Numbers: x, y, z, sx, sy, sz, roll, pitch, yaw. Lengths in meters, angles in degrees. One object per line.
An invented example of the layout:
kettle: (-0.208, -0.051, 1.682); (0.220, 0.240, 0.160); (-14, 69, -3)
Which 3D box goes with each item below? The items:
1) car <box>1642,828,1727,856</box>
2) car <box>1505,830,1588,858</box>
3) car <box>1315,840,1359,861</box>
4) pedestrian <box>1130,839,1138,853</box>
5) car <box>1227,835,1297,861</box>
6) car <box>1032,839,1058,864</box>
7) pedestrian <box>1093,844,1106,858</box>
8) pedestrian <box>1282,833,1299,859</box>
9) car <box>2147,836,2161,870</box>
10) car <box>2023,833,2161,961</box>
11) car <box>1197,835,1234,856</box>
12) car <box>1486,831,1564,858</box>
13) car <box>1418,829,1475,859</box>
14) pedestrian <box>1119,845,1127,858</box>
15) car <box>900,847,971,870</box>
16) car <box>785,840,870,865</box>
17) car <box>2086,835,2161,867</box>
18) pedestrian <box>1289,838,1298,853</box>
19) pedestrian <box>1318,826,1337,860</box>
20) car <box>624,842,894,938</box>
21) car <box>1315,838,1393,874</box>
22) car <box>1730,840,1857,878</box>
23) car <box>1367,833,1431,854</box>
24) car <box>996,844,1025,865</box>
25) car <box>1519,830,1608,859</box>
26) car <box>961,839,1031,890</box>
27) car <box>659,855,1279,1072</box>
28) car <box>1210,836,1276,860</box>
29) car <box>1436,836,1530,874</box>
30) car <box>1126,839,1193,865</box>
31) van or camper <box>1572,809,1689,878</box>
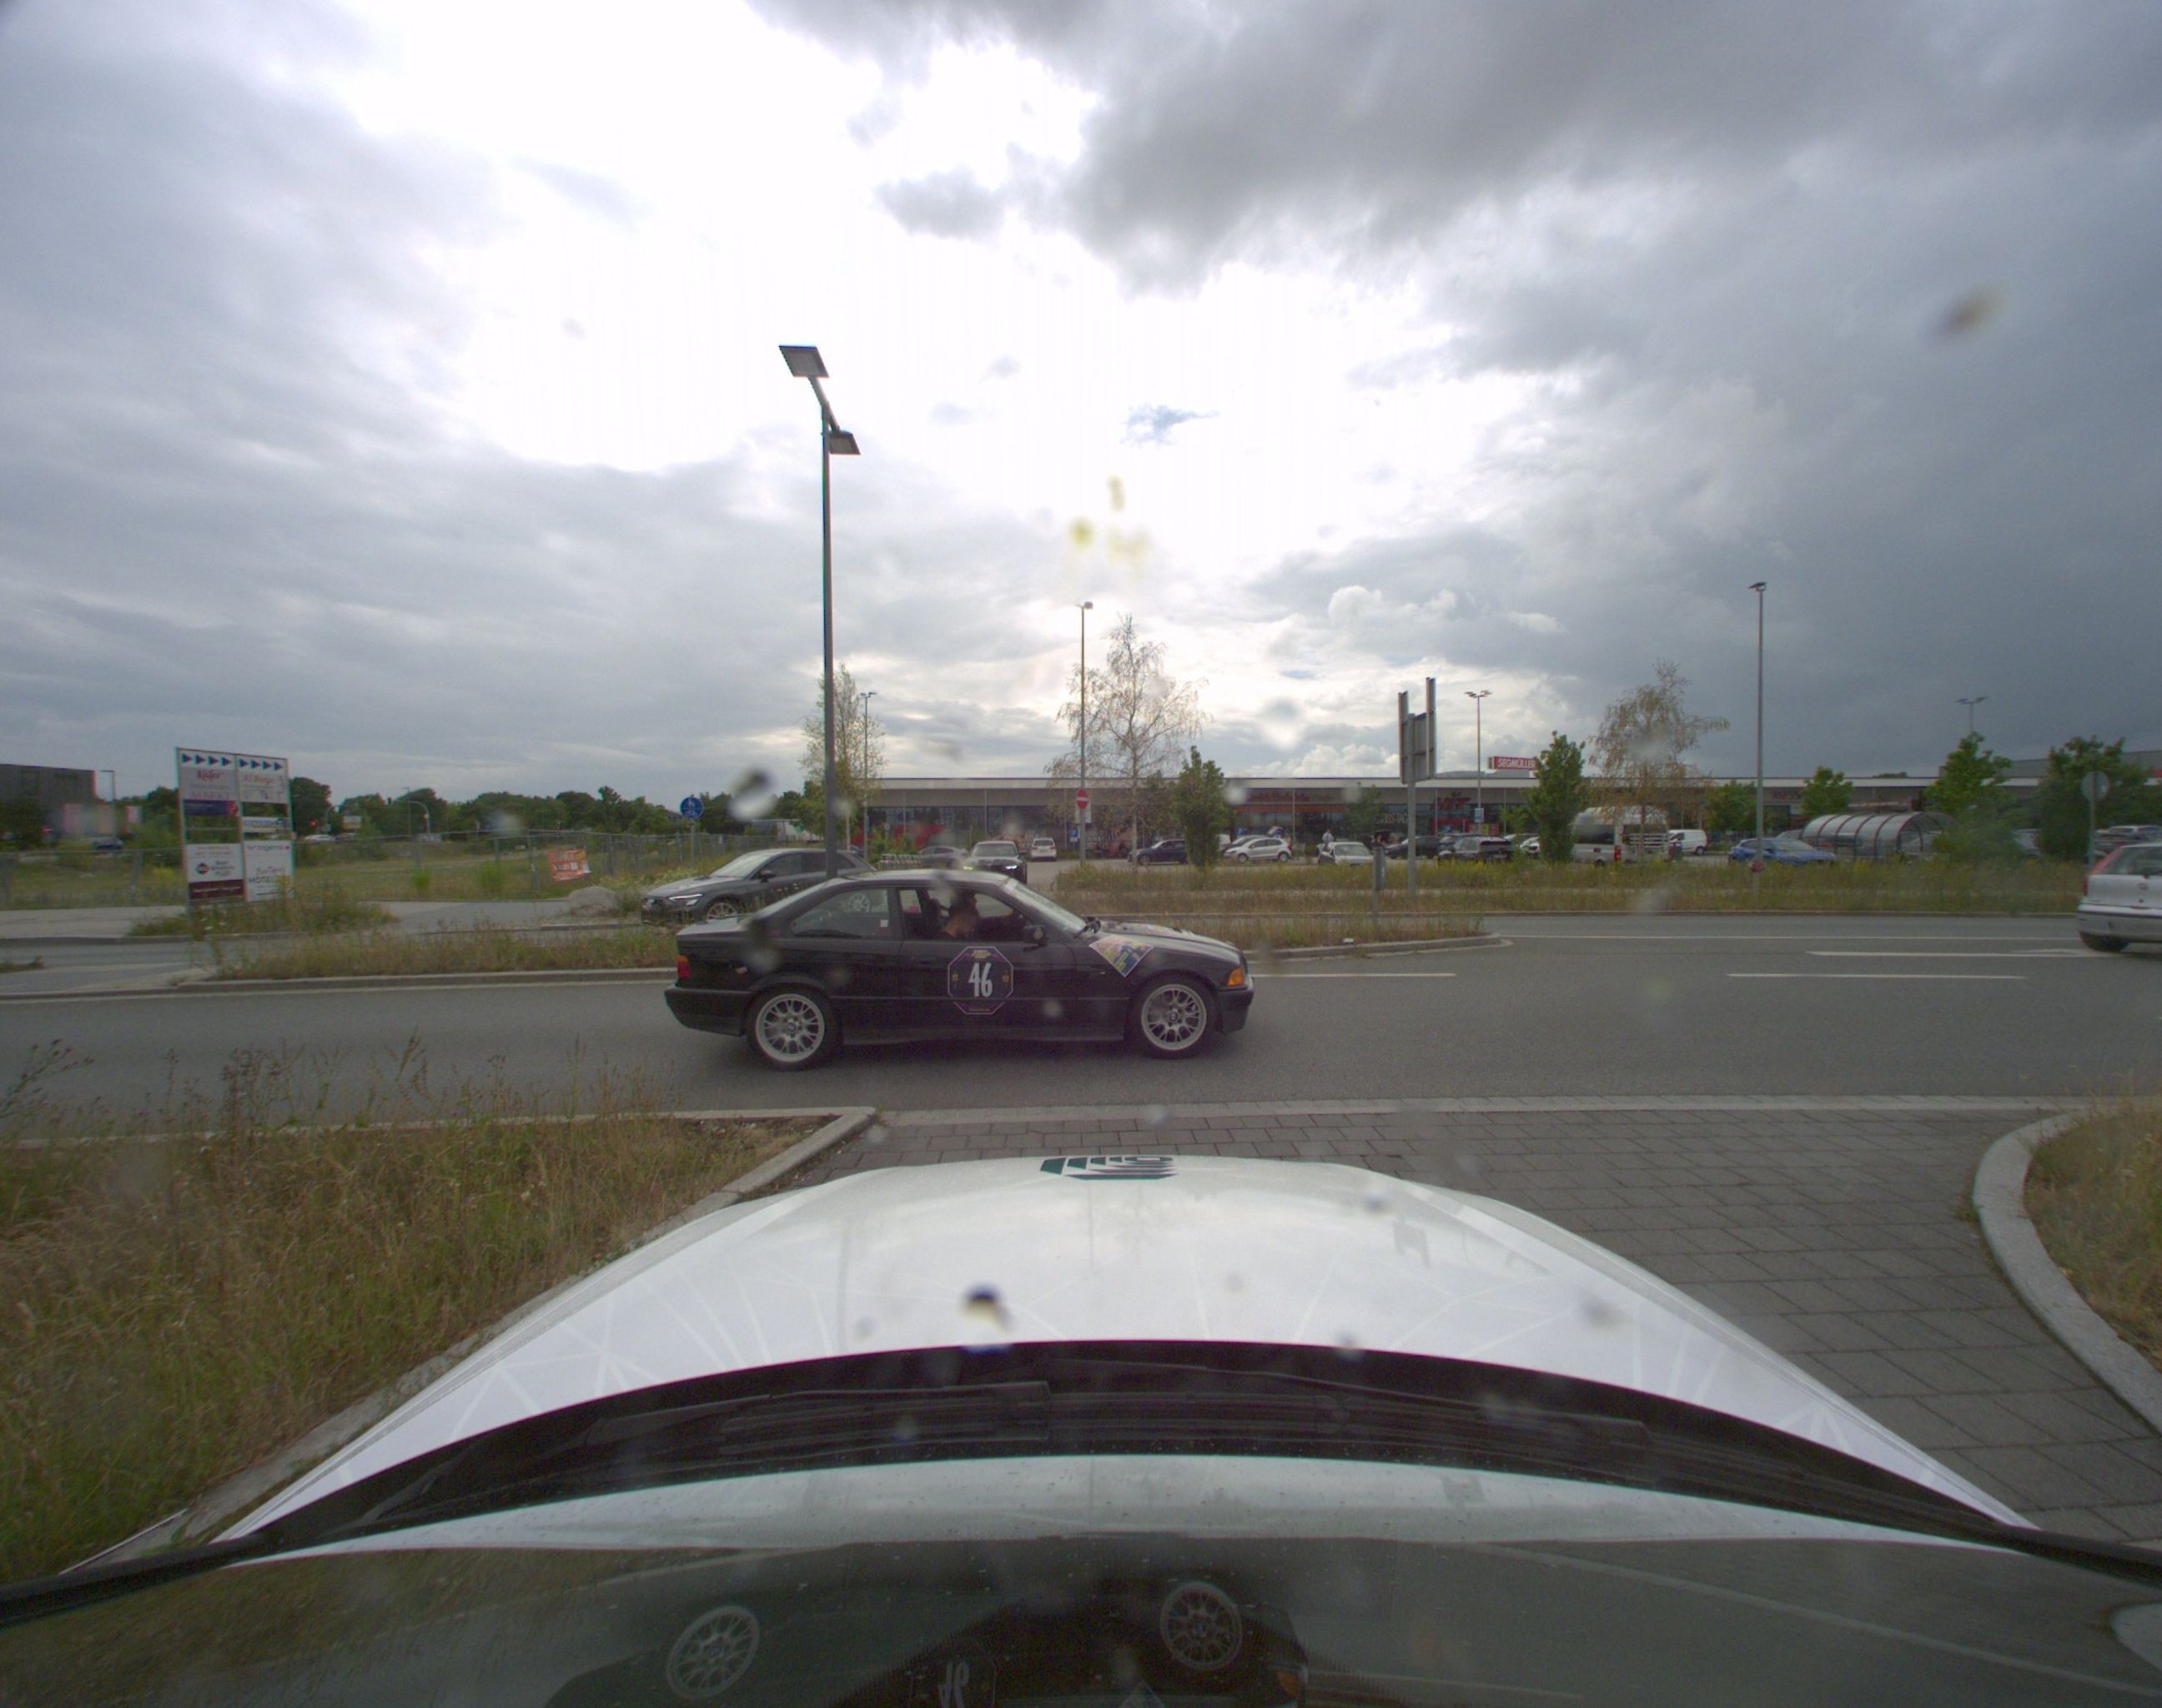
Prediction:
car: (40.064, -0.816, 54.148); (4.409, 1.819, 1.995); (0, 1, -7)
car: (28.446, -0.611, 49.830); (3.969, 1.618, 2.003); (-1, 1, 4)
car: (19.351, -0.307, 61.828); (1.988, 1.508, 3.997); (-1, 1, -2)
pedestrian: (4.420, -0.679, 68.184); (0.575, 1.124, 0.560); (-1, 1, -8)
car: (10.611, -0.355, 47.870); (3.740, 1.454, 1.665); (-1, 1, -5)
car: (-2.619, -0.218, 59.767); (1.819, 1.699, 4.232); (-1, 2, -2)
pedestrian: (1.570, -0.248, 69.419); (0.969, 1.154, 1.131); (-1, 1, -6)
pedestrian: (13.089, -0.504, 50.841); (0.819, 1.631, 0.899); (0, 0, 1)
car: (58.621, -0.075, 42.597); (3.991, 1.733, 1.992); (-1, 1, -13)
car: (14.335, 0.473, 9.950); (3.796, 1.461, 1.799); (-1, 1, -4)
car: (10.099, -0.636, 61.197); (1.988, 1.508, 3.997); (-1, 1, -2)
car: (28.648, -0.623, 52.662); (3.969, 1.618, 2.003); (-1, 1, 4)
car: (21.473, -0.599, 47.992); (1.806, 1.653, 4.005); (-1, 1, 4)
pedestrian: (3.525, -0.222, 69.074); (0.575, 1.124, 0.560); (-1, 1, -8)
car: (-8.545, 0.249, 48.140); (3.983, 1.352, 1.995); (0, 1, -7)
car: (-16.446, -0.110, 52.988); (5.006, 1.557, 1.994); (0, 1, -9)
car: (58.490, -0.206, 45.316); (3.828, 1.653, 1.755); (-1, 1, -13)
pedestrian: (17.985, -0.729, 68.919); (0.559, 1.201, 0.527); (-1, 1, -4)
pedestrian: (15.108, -0.678, 49.877); (0.862, 2.013, 1.004); (0, 1, 0)
car: (-5.812, 0.545, 15.168); (1.775, 1.466, 4.348); (1, 2, 39)
car: (10.956, 0.057, 32.986); (1.980, 1.384, 4.154); (0, 1, 4)
car: (27.578, 0.167, 31.702); (1.794, 1.384, 4.160); (0, 1, 9)
car: (23.419, -0.770, 60.065); (3.978, 1.508, 1.998); (-1, 1, -3)
car: (-5.120, -0.004, 59.572); (1.901, 1.443, 3.998); (-1, 1, -2)
car: (27.726, -0.545, 46.934); (3.969, 1.618, 2.003); (-1, 1, 4)
car: (-2.586, 0.280, 25.785); (1.774, 1.445, 4.609); (-1, 1, -1)
car: (-0.766, 0.748, 6.564); (4.278, 1.386, 1.757); (-1, 1, -3)
car: (10.052, -0.379, 50.663); (3.740, 1.454, 1.665); (-1, 1, -5)
car: (16.020, 0.015, 32.713); (1.980, 1.451, 4.154); (0, 1, 4)
car: (4.512, -0.123, 47.111); (3.601, 1.454, 1.665); (-1, 1, -6)
van or camper: (20.966, -0.400, 31.323); (2.269, 2.492, 4.011); (0, 1, 9)
